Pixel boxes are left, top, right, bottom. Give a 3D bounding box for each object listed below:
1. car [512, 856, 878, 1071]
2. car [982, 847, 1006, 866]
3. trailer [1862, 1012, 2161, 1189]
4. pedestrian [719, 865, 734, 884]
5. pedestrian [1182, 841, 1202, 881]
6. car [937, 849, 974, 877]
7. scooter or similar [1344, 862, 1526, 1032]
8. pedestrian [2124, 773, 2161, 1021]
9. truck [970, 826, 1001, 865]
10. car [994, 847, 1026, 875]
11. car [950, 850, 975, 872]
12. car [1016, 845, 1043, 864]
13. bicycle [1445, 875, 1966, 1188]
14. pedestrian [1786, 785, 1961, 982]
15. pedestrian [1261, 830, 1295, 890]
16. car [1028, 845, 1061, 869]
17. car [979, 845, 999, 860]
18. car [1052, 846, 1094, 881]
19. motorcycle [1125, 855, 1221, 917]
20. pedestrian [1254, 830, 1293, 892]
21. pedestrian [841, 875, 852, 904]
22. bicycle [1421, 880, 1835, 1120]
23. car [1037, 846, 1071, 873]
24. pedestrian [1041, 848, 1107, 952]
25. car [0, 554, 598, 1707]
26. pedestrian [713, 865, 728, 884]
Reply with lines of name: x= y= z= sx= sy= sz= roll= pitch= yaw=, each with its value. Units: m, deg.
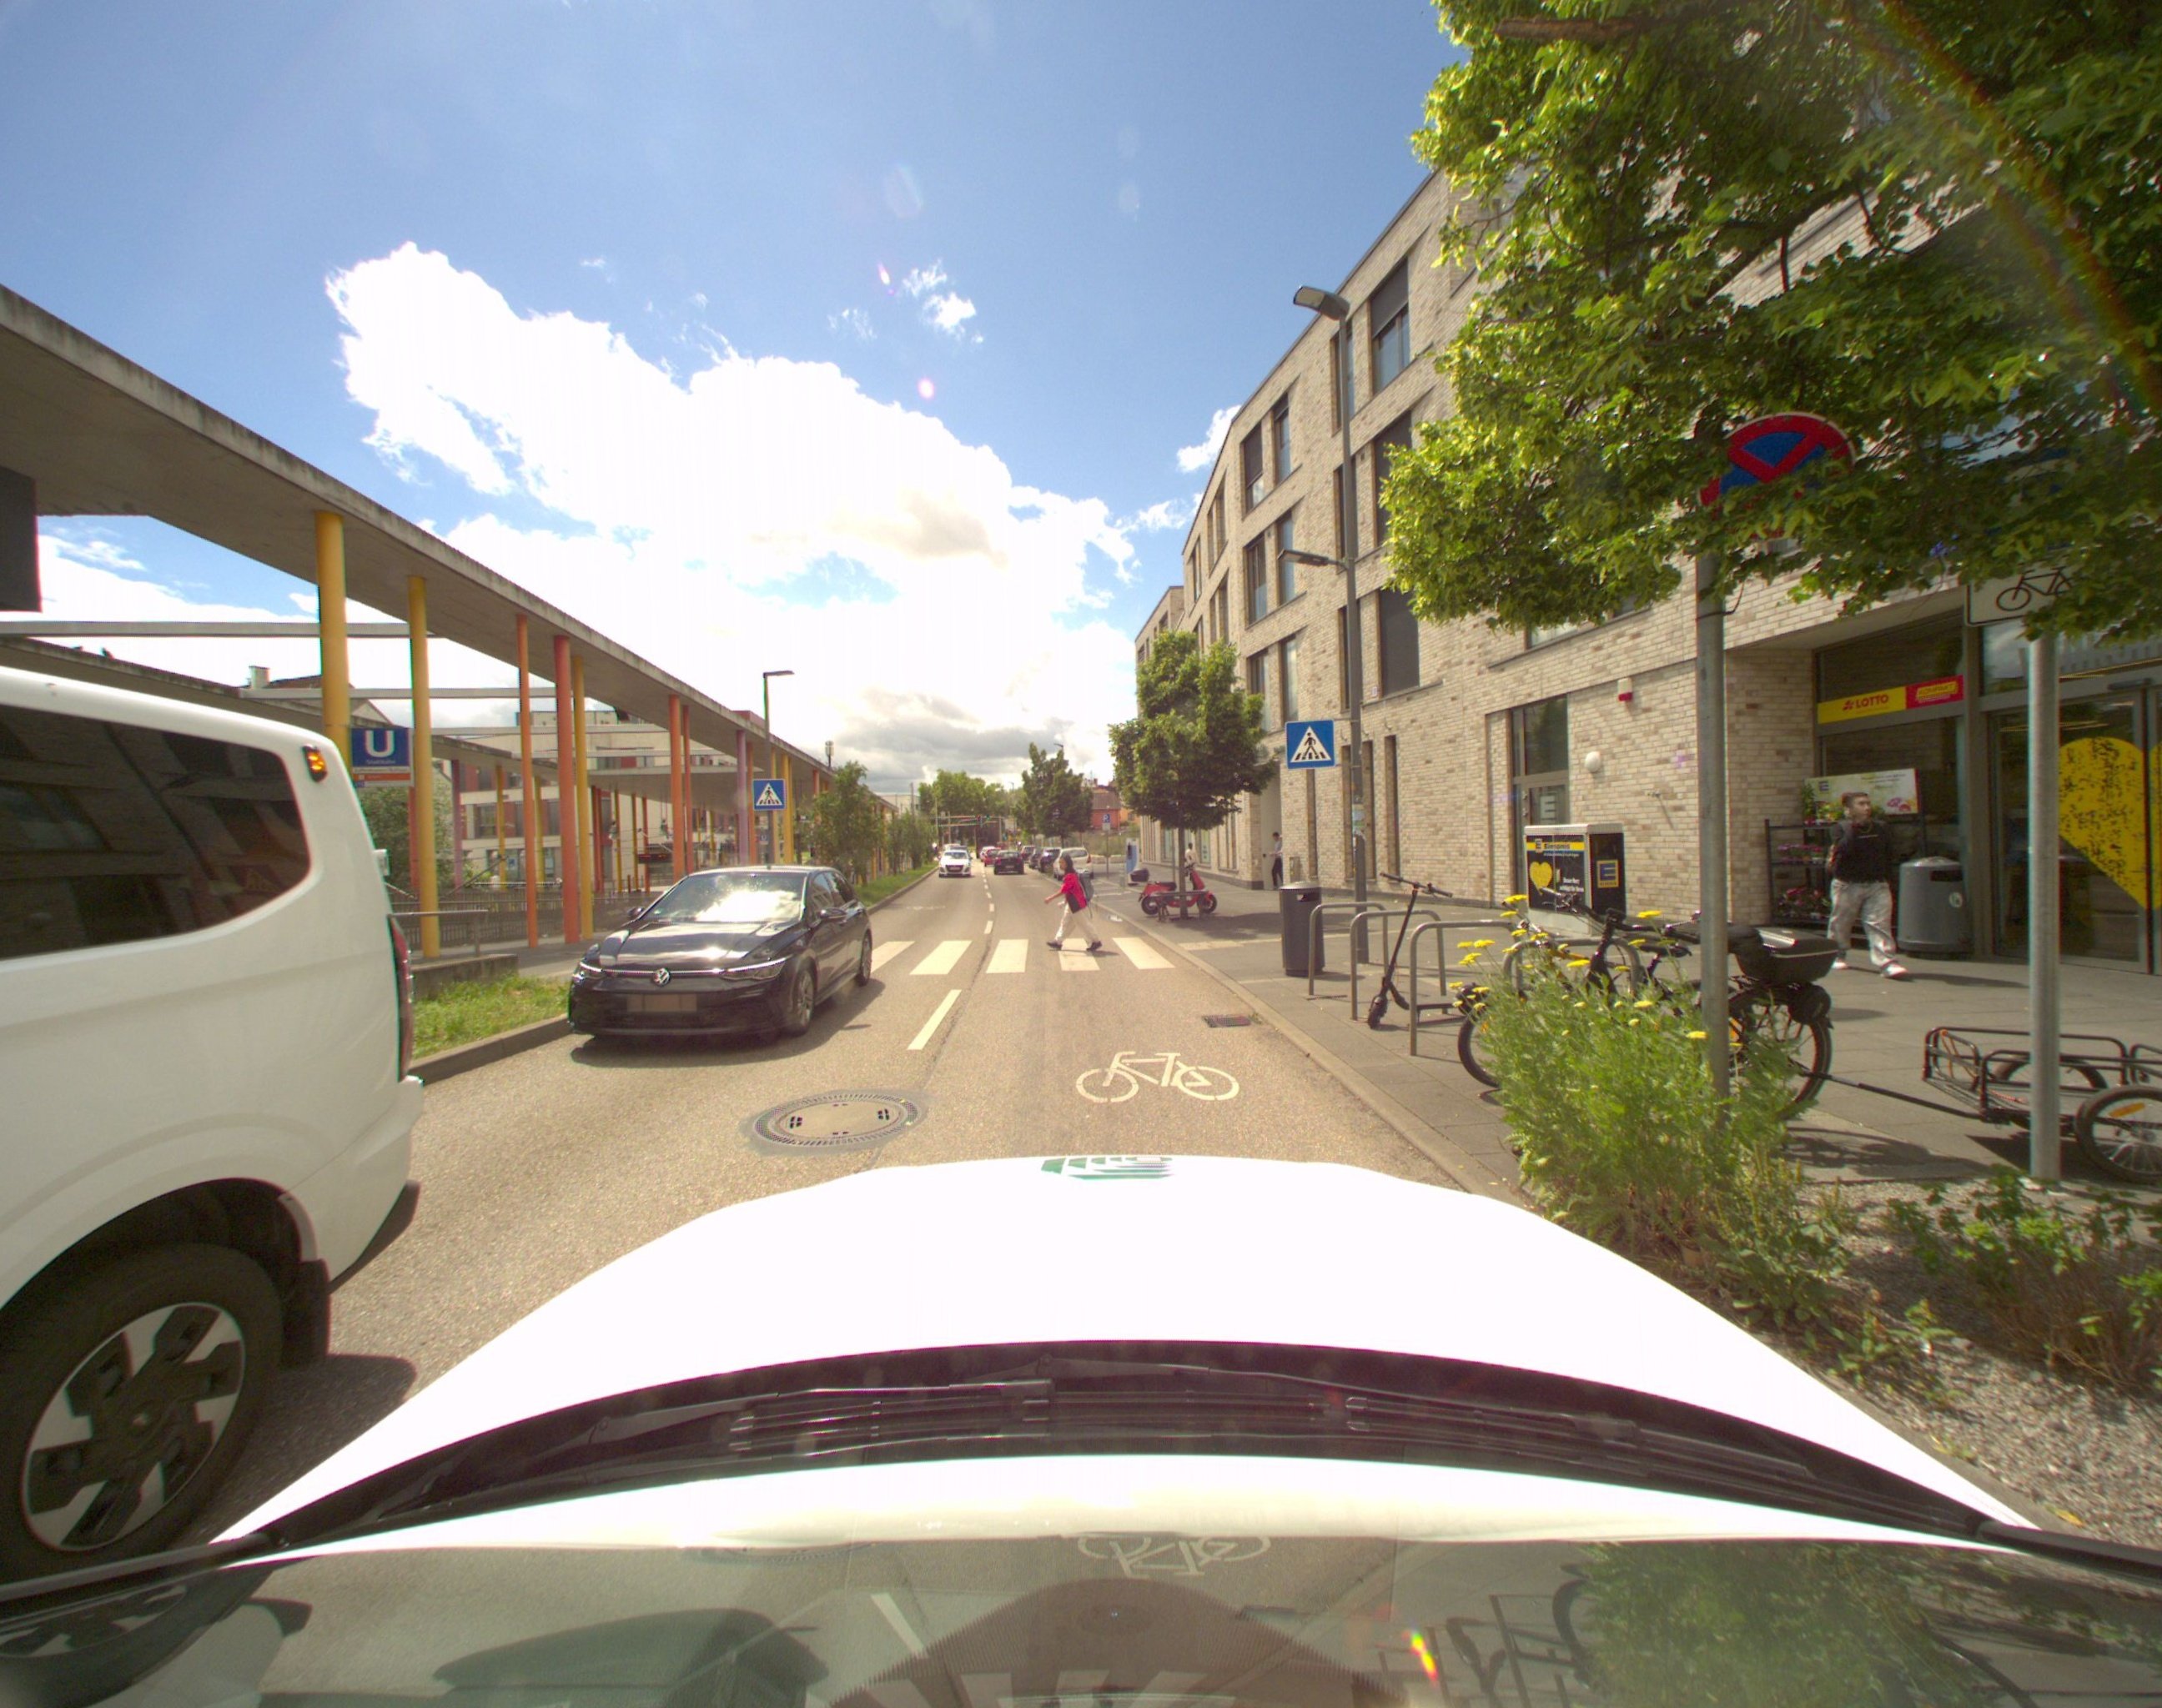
car: x=-3.259 y=0.778 z=7.910 sx=1.769 sy=1.464 sz=4.228 roll=-1 pitch=0 yaw=-4
car: x=-6.907 y=0.168 z=64.377 sx=1.711 sy=1.393 sz=3.798 roll=-3 pitch=1 yaw=-8
trailer: x=4.195 y=1.047 z=3.598 sx=0.716 sy=0.528 sz=0.812 roll=-1 pitch=0 yaw=3
pedestrian: x=-26.525 y=1.506 z=60.904 sx=0.821 sy=1.379 sz=0.700 roll=-1 pitch=1 yaw=-7
pedestrian: x=4.231 y=0.275 z=31.132 sx=0.605 sy=1.472 sz=0.791 roll=-3 pitch=1 yaw=1
car: x=-6.829 y=0.466 z=44.611 sx=1.809 sy=1.469 sz=3.899 roll=-1 pitch=0 yaw=-6
scooter or similar: x=2.828 y=0.725 z=6.567 sx=1.192 sy=1.249 sz=0.493 roll=-3 pitch=0 yaw=-1
pedestrian: x=7.657 y=0.285 z=5.429 sx=0.651 sy=1.692 sz=0.636 roll=-2 pitch=0 yaw=33
truck: x=-11.729 y=-0.936 z=99.387 sx=3.203 sy=4.536 sz=8.998 roll=-1 pitch=-1 yaw=-10
car: x=-4.205 y=0.391 z=47.859 sx=1.724 sy=1.456 sz=3.800 roll=-3 pitch=1 yaw=-6
car: x=-9.456 y=0.519 z=64.840 sx=1.919 sy=1.604 sz=4.612 roll=-1 pitch=0 yaw=-9
car: x=-4.446 y=-0.009 z=69.679 sx=1.781 sy=1.451 sz=4.463 roll=-3 pitch=1 yaw=-9
bicycle: x=2.803 y=0.753 z=3.807 sx=1.817 sy=1.201 sz=0.756 roll=-3 pitch=0 yaw=-1
pedestrian: x=7.543 y=0.262 z=7.809 sx=0.655 sy=1.741 sz=1.019 roll=-2 pitch=0 yaw=4
pedestrian: x=5.930 y=0.181 z=24.561 sx=0.736 sy=1.766 sz=0.621 roll=-2 pitch=-1 yaw=-14
car: x=-2.517 y=0.200 z=55.126 sx=1.863 sy=1.451 sz=4.632 roll=-3 pitch=1 yaw=-7
car: x=-9.458 y=-0.126 z=83.406 sx=1.887 sy=1.465 sz=4.057 roll=-3 pitch=0 yaw=-9
car: x=-0.435 y=0.412 z=39.279 sx=1.690 sy=1.483 sz=3.791 roll=-3 pitch=1 yaw=-5
motorcycle: x=2.101 y=0.718 z=18.557 sx=2.037 sy=1.266 sz=0.675 roll=-4 pitch=-1 yaw=10
pedestrian: x=5.596 y=0.207 z=23.690 sx=0.735 sy=1.766 sz=0.752 roll=-2 pitch=-1 yaw=-21
pedestrian: x=-14.811 y=2.217 z=51.441 sx=0.586 sy=1.830 sz=0.708 roll=-1 pitch=-1 yaw=-6
bicycle: x=3.023 y=0.774 z=4.641 sx=1.817 sy=1.131 sz=0.756 roll=-3 pitch=0 yaw=-1
car: x=-1.634 y=0.307 z=48.681 sx=1.690 sy=1.461 sz=4.139 roll=-3 pitch=1 yaw=-6
pedestrian: x=-0.120 y=0.708 z=12.864 sx=0.927 sy=1.565 sz=0.812 roll=0 pitch=-1 yaw=-9
car: x=-2.814 y=0.497 z=0.417 sx=1.988 sy=2.013 sz=5.391 roll=0 pitch=0 yaw=-1
pedestrian: x=-26.485 y=1.493 z=59.883 sx=0.821 sy=1.379 sz=0.700 roll=-1 pitch=1 yaw=-7
